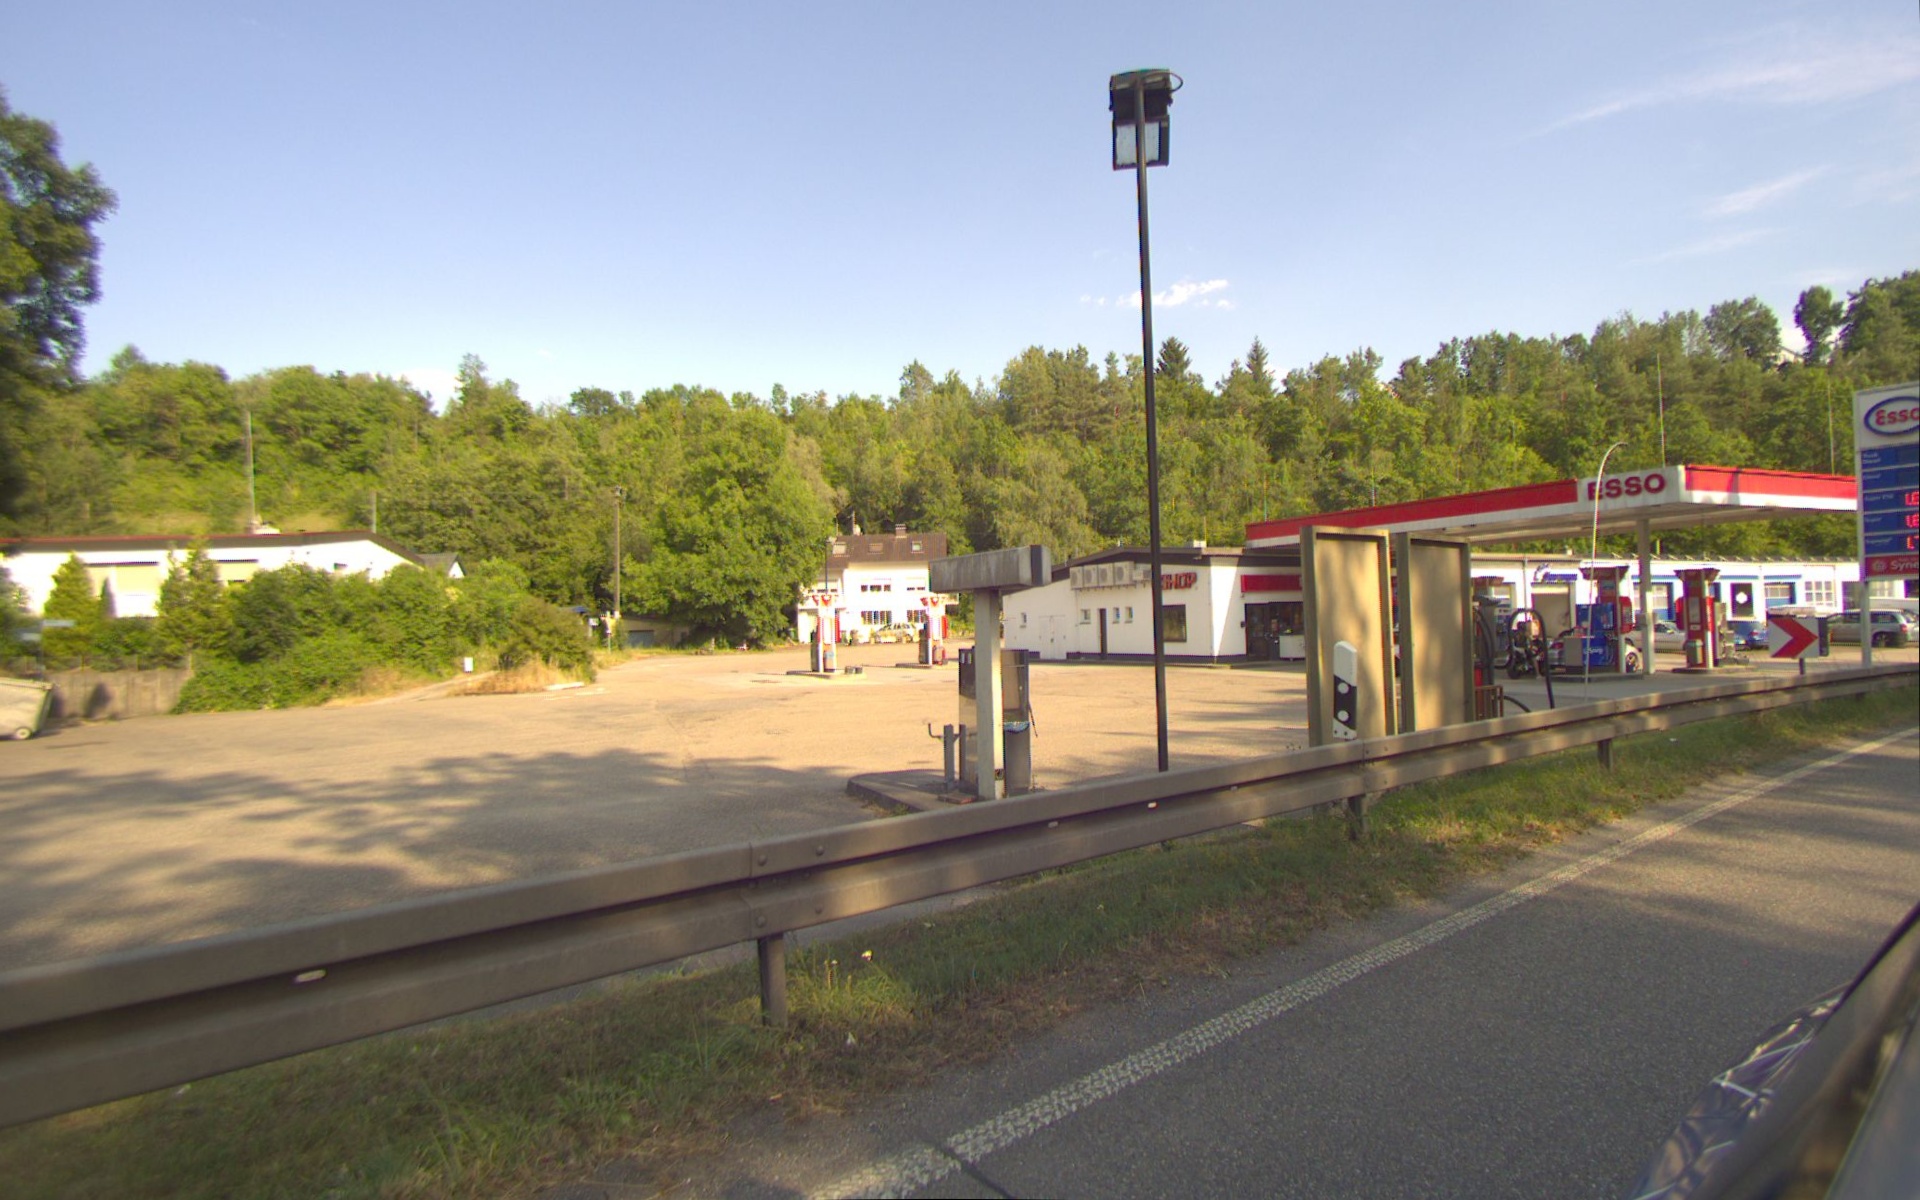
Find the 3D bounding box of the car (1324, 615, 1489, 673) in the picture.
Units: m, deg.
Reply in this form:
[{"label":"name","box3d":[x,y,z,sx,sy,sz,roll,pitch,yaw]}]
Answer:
[{"label":"car","box3d":[14.260,1.348,32.260,5.074,1.649,2.102,0,-1,-28]}]

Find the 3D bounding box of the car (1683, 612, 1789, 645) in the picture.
[{"label":"car","box3d":[36.495,1.323,47.700,1.698,1.464,3.560,0,-1,-26]}]

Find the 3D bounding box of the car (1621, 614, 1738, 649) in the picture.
[{"label":"car","box3d":[32.315,1.372,45.557,1.741,1.372,3.973,0,1,-30]}]

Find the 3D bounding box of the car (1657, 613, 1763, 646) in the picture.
[{"label":"car","box3d":[34.551,1.339,46.708,1.656,1.424,3.566,0,-1,-26]}]

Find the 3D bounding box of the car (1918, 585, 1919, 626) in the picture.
[{"label":"car","box3d":[60.129,0.365,59.645,2.163,2.480,4.930,0,1,-28]}]

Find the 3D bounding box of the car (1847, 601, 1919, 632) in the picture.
[{"label":"car","box3d":[52.501,0.889,56.376,1.856,1.631,4.260,0,0,-26]}]

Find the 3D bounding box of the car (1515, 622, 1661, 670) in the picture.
[{"label":"car","box3d":[19.594,1.394,31.555,4.299,1.336,1.851,0,-1,-26]}]

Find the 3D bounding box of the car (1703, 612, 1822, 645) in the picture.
[{"label":"car","box3d":[38.412,1.331,48.524,1.856,1.365,4.087,0,1,-26]}]

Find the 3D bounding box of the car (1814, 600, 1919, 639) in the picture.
[{"label":"car","box3d":[45.982,0.957,50.862,1.854,1.750,4.267,0,2,-29]}]

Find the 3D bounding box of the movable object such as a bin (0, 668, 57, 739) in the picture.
[{"label":"movable object such as a bin","box3d":[-20.723,2.221,21.297,2.512,1.439,1.267,0,-4,-41]}]

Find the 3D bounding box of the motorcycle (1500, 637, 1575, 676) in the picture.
[{"label":"motorcycle","box3d":[16.814,1.620,29.444,2.293,1.025,0.765,0,-1,-27]}]

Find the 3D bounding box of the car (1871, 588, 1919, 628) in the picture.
[{"label":"car","box3d":[56.566,0.462,58.421,2.248,2.302,5.500,0,1,-27]}]

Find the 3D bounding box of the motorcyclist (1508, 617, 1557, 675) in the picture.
[{"label":"motorcyclist","box3d":[16.597,1.311,29.350,0.909,1.625,0.862,0,-2,-27]}]

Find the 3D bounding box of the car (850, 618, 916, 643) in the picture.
[{"label":"car","box3d":[-6.124,2.422,81.216,5.068,1.860,2.701,-1,-2,0]}]
